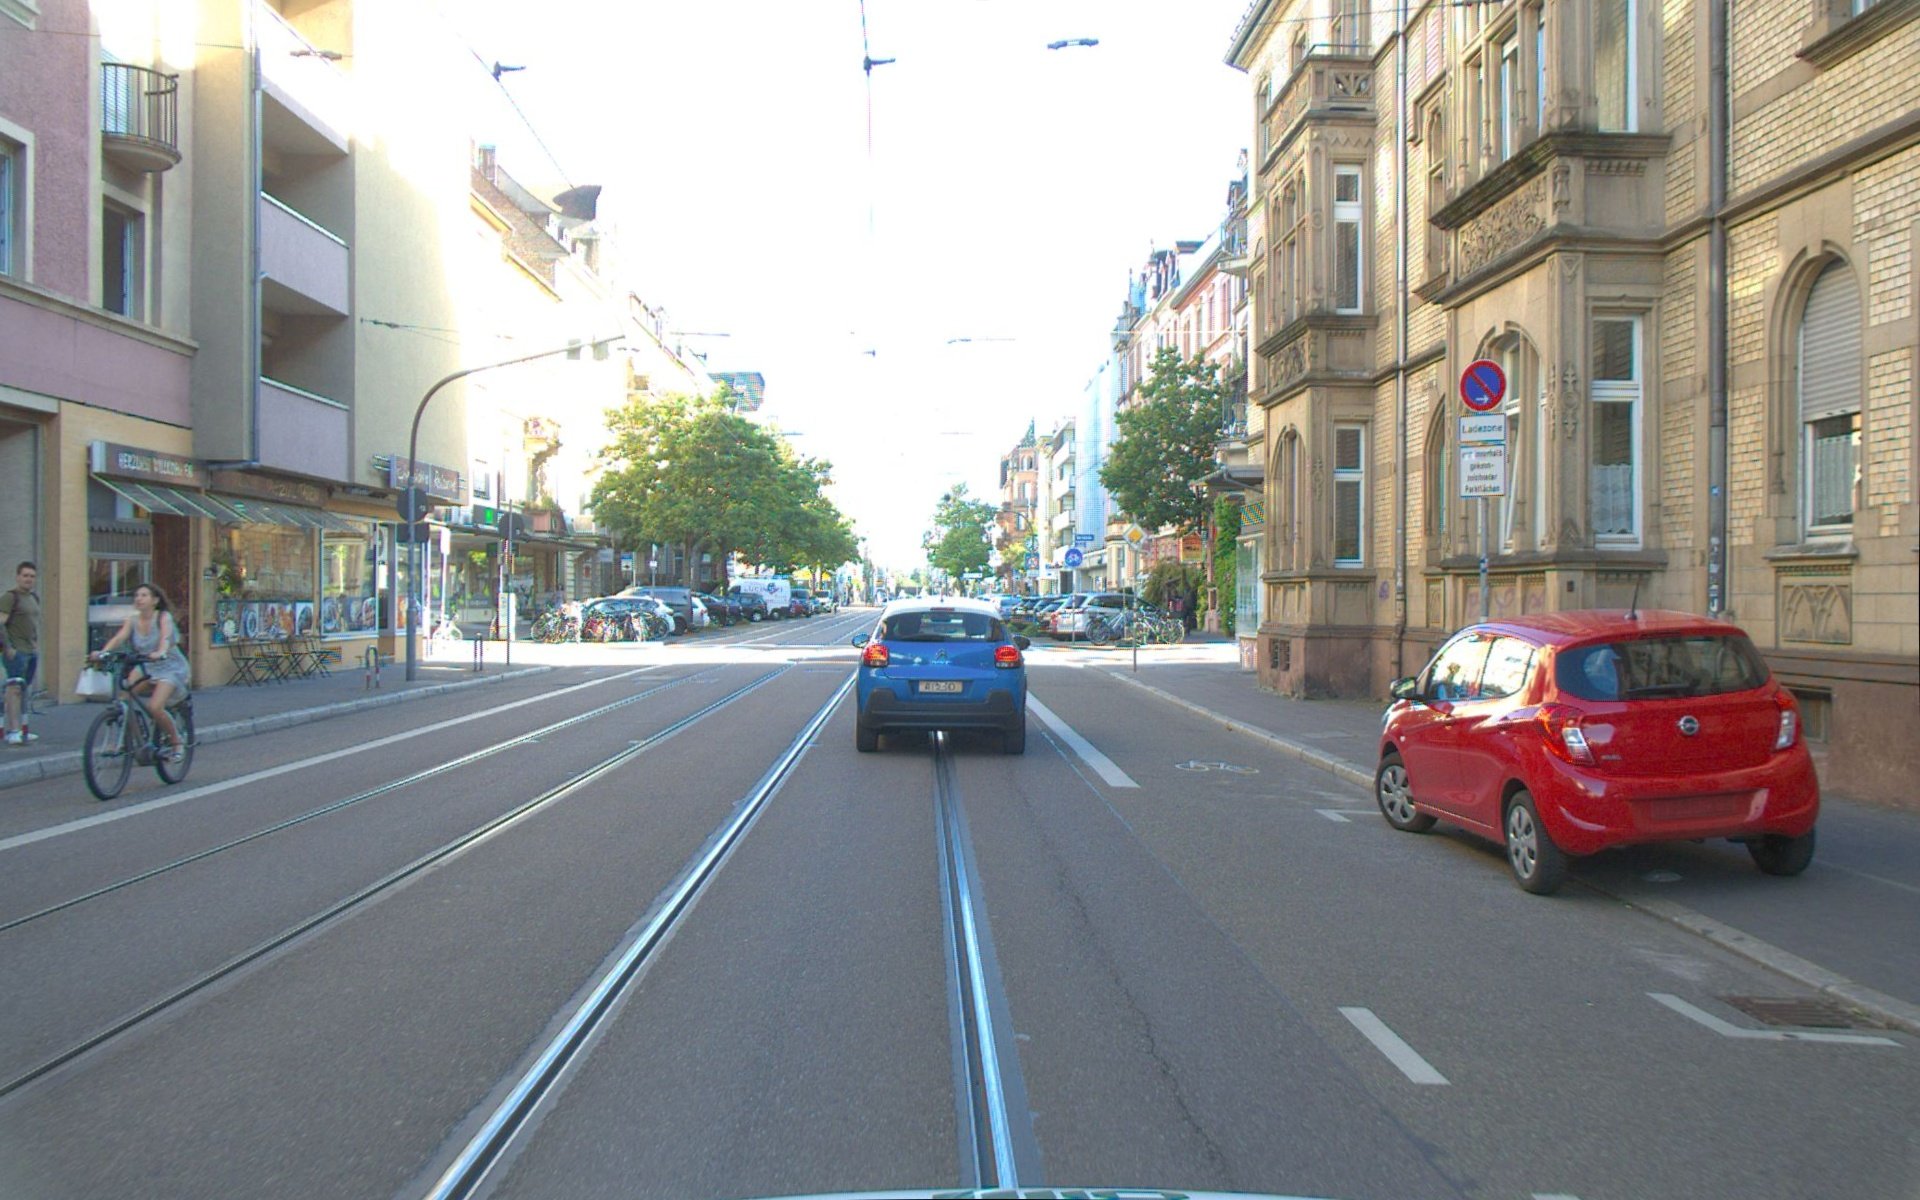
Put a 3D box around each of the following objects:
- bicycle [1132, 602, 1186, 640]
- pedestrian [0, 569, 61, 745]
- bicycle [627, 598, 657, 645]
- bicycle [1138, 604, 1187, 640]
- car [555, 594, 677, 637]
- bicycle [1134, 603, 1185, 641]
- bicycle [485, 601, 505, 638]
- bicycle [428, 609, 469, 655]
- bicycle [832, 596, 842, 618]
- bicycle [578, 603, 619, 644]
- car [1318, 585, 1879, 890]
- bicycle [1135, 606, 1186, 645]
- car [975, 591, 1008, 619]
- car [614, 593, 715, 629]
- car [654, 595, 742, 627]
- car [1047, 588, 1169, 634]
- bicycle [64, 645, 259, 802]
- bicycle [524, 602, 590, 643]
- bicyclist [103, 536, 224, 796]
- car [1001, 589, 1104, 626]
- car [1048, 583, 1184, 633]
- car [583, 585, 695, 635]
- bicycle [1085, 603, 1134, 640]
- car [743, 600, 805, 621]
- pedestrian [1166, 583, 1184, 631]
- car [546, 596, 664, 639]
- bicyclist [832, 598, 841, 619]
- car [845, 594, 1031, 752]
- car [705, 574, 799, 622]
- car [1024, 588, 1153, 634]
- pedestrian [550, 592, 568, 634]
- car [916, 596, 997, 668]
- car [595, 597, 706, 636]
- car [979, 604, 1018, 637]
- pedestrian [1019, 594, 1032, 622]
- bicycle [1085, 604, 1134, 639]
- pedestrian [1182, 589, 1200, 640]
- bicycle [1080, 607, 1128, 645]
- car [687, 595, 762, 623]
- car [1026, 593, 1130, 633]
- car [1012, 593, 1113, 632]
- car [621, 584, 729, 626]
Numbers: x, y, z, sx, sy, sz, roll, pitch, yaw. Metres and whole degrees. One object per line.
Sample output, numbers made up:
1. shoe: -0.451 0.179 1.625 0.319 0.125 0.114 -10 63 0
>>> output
1. bicycle: 6.179 0.656 51.478 1.639 1.147 0.552 1 -1 5
2. pedestrian: -9.389 0.557 16.442 0.552 1.715 0.616 1 -1 -3
3. bicycle: -9.848 0.645 51.212 0.668 1.342 2.433 1 2 -5
4. bicycle: 6.456 0.697 52.790 1.523 1.147 0.552 1 -1 5
5. car: -11.813 0.553 56.812 3.747 1.424 1.734 1 0 -35
6. bicycle: 6.139 0.677 50.898 1.523 1.147 0.528 1 -1 5
7. bicycle: -14.290 0.596 50.825 0.397 1.129 1.825 0 0 -22
8. bicycle: -14.173 0.865 45.869 0.668 1.128 2.432 1 2 -8
9. bicycle: -9.908 0.571 132.794 0.666 1.708 2.096 1 0 -1
10. bicycle: -11.161 0.720 51.031 0.675 1.143 1.867 0 2 -32
11. car: 3.840 0.731 10.901 1.828 1.508 4.399 -3 0 -2
12. bicycle: 6.097 0.772 50.314 1.523 1.147 0.552 1 -1 5
13. car: 1.837 0.303 97.868 1.835 1.624 3.999 1 0 -1
14. car: -12.253 0.465 68.600 3.787 1.455 1.750 1 0 -27
15. car: -12.903 0.532 81.526 3.944 1.515 1.788 1 0 -30
16. car: 5.246 0.381 58.625 3.938 1.563 1.902 1 0 -26
17. bicycle: -6.445 0.955 13.478 0.590 1.115 2.044 -2 0 -1
18. bicycle: -12.290 0.675 50.405 2.390 1.128 0.680 3 3 39
19. bicyclist: -6.454 0.524 13.436 0.599 2.049 0.733 1 -1 -1
20. car: 4.179 0.340 74.508 4.250 1.624 1.966 1 0 -26
21. car: 5.289 0.289 56.023 4.298 1.624 1.838 1 0 -26
22. car: -12.148 0.385 62.617 3.769 1.816 1.779 1 -1 -30
23. bicycle: 4.775 0.674 52.752 1.527 1.147 0.295 1 -1 5
24. car: -12.283 0.689 109.190 3.752 1.287 1.503 1 0 -27
25. pedestrian: 7.618 0.238 58.551 0.507 1.677 0.863 1 -1 -1
26. car: -11.592 0.564 54.031 3.432 1.361 1.604 1 -1 -36
27. bicyclist: -9.912 0.697 132.924 0.621 1.711 0.726 1 -1 -1
28. car: -0.255 0.694 17.307 1.727 1.466 3.555 1 0 -2
29. car: -12.431 -0.115 99.031 5.317 2.797 1.787 1 -1 -32
30. car: 4.789 0.408 61.676 4.380 1.624 2.071 1 0 -26
31. pedestrian: -16.532 0.533 68.149 0.558 1.681 0.641 1 -1 -1
32. car: -0.109 0.745 39.630 1.835 1.624 3.999 1 0 -1
33. car: -12.204 0.667 65.251 3.970 1.475 1.679 1 -1 -34
34. car: 1.979 1.057 86.413 1.835 1.624 4.718 1 0 -1
35. pedestrian: 3.795 0.456 95.521 0.697 1.635 0.654 1 -1 -2
36. bicycle: 4.740 0.680 52.399 1.523 1.098 0.307 1 -1 5
37. pedestrian: 8.227 0.523 58.909 0.507 1.809 0.863 1 -1 -1
38. bicycle: 4.391 0.789 50.538 1.371 1.147 0.550 1 -1 -9
39. car: -13.246 0.525 93.002 3.925 1.515 1.797 1 0 -18
40. car: 4.939 0.539 69.092 3.938 1.624 1.943 1 0 -26
41. car: 4.462 0.548 71.945 3.938 1.624 2.070 1 0 -26
42. car: -12.621 0.238 73.280 4.314 1.814 1.972 1 -1 -34
